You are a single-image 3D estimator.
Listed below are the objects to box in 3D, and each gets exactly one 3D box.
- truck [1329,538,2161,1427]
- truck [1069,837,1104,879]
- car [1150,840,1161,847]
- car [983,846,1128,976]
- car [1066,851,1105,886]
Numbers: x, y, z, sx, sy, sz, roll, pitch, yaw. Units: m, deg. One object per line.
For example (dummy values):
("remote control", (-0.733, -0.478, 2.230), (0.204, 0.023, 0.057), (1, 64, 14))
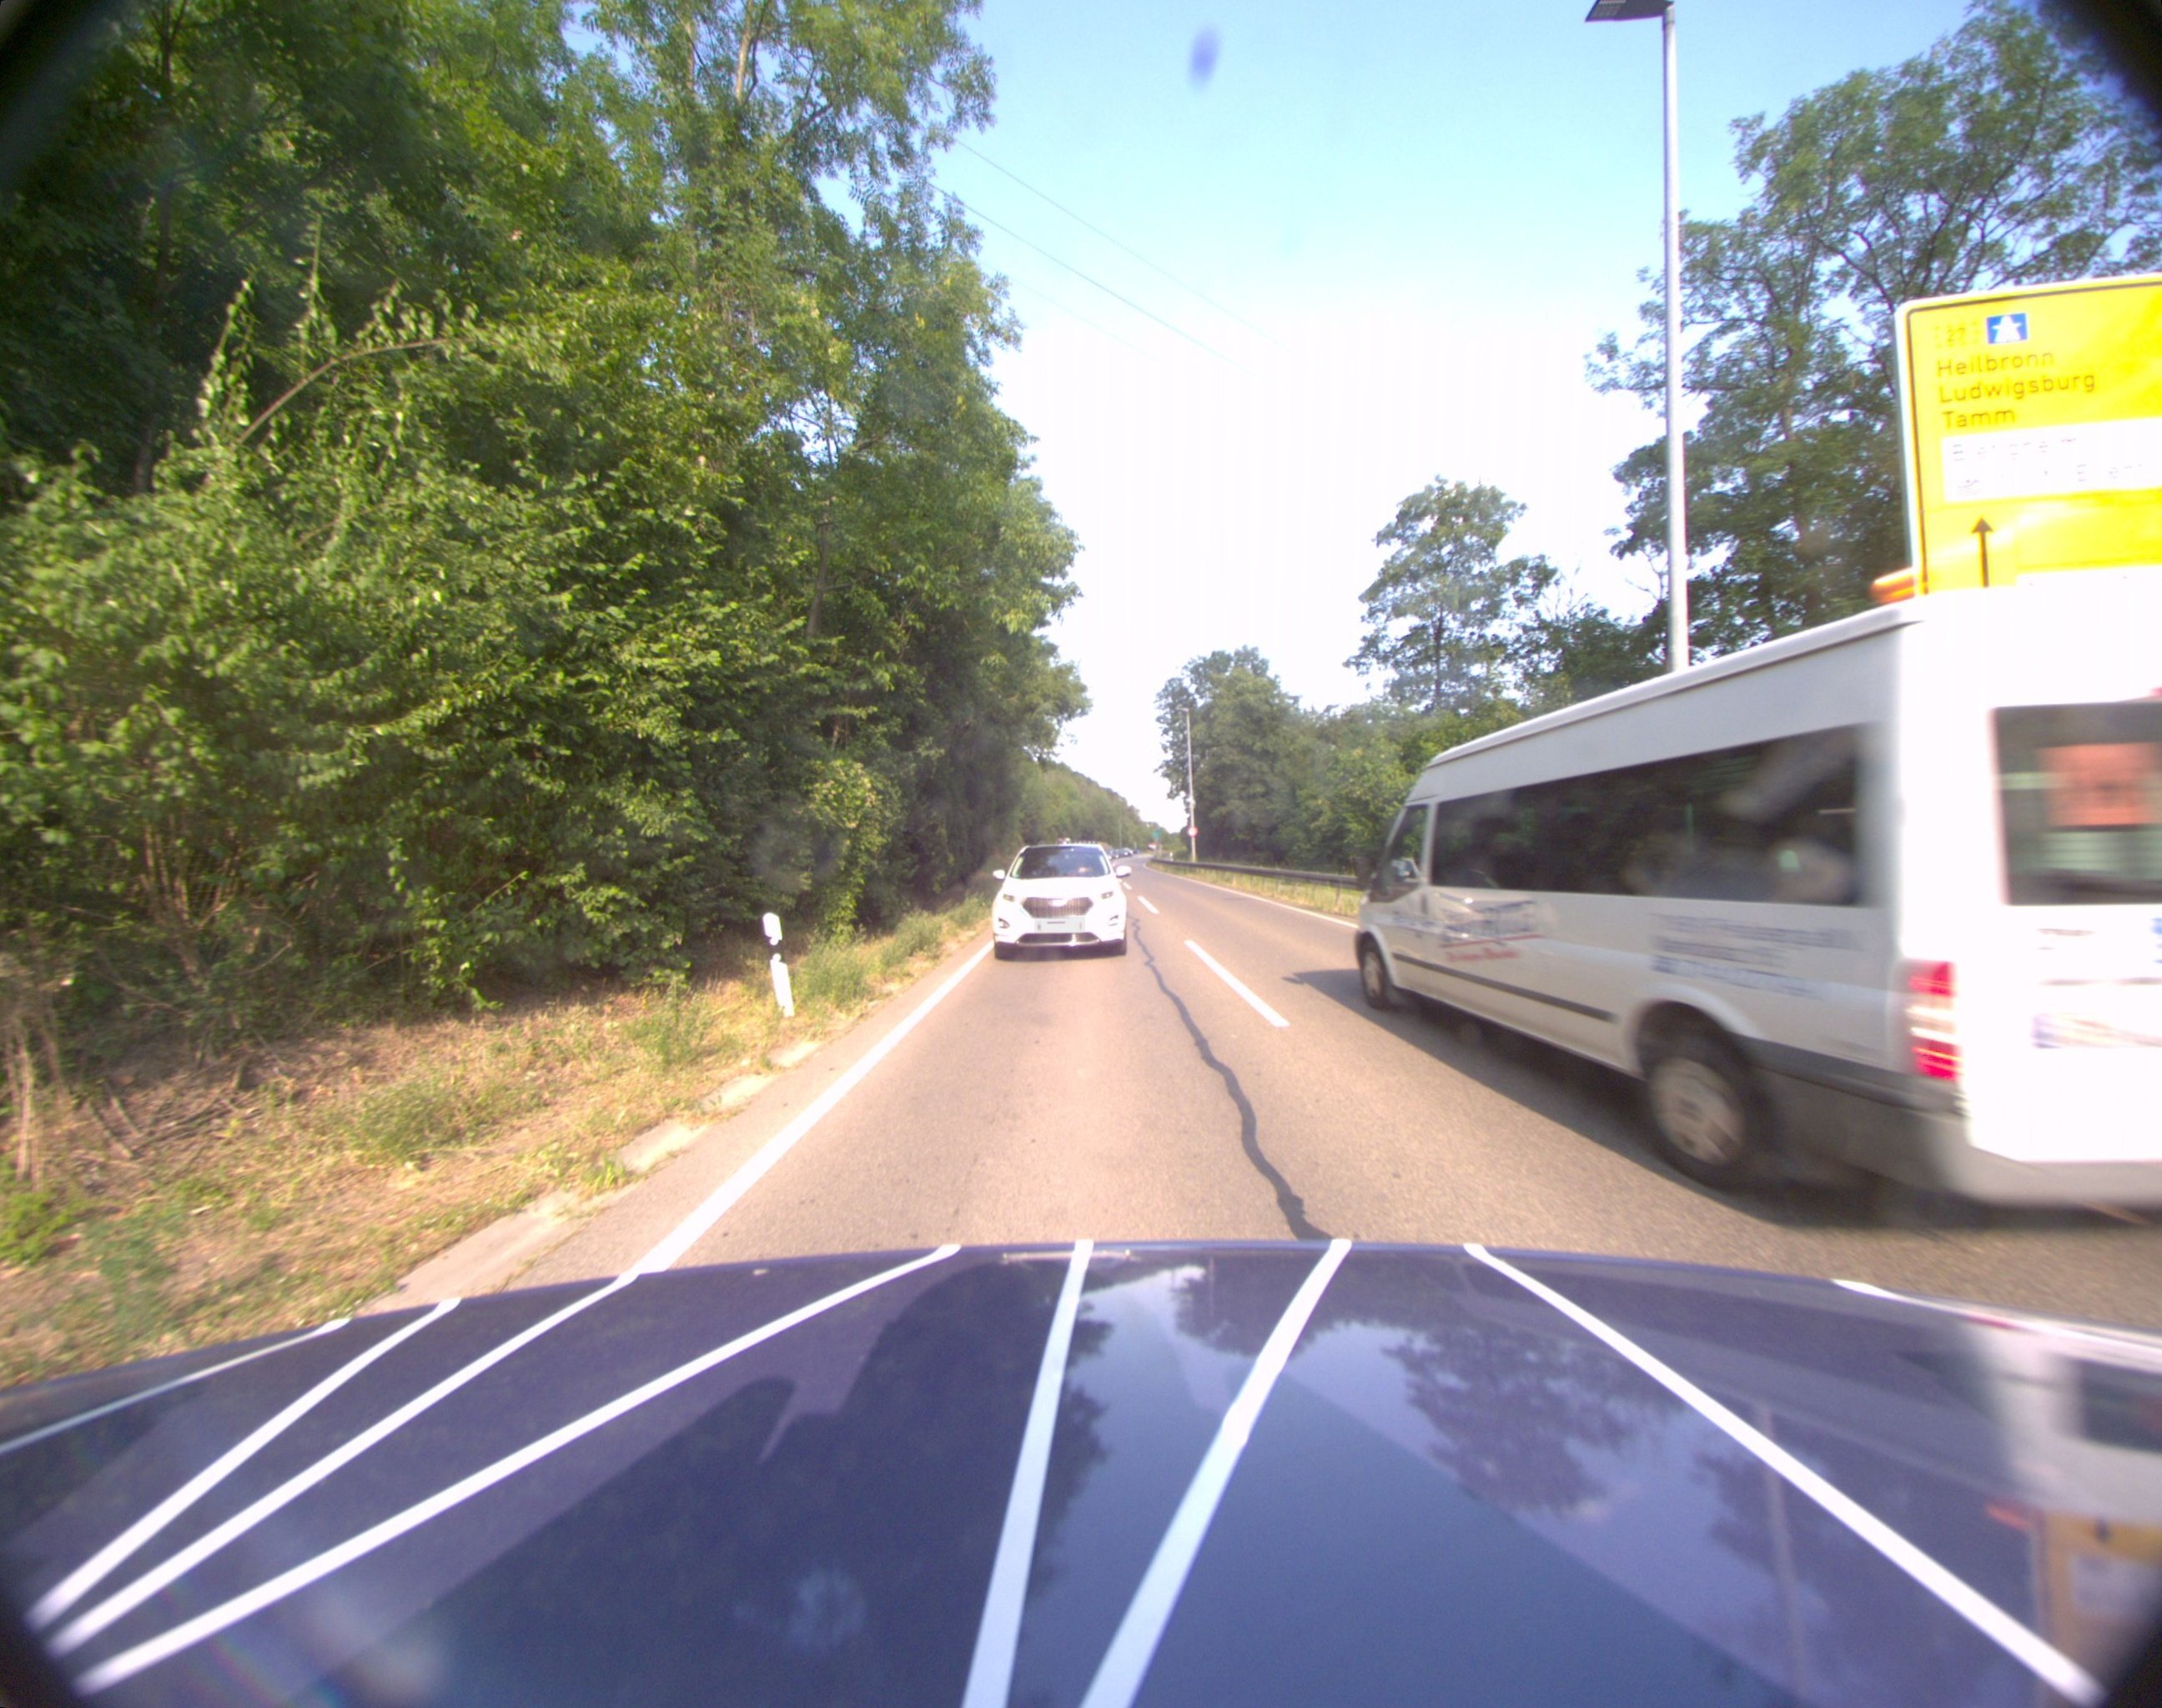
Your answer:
("truck", (3.578, 0.311, 4.949), (2.062, 2.371, 5.873), (-1, 1, 1))
("truck", (0.352, 0.199, 46.341), (1.894, 2.334, 5.273), (-2, 1, 1))
("car", (19.517, -2.672, 198.996), (1.996, 1.697, 4.004), (-2, 1, 18))
("car", (-0.309, 0.756, 12.281), (1.894, 1.691, 4.136), (-2, 1, 1))
("car", (0.229, 0.647, 36.060), (1.704, 1.477, 4.136), (-2, 1, 1))
